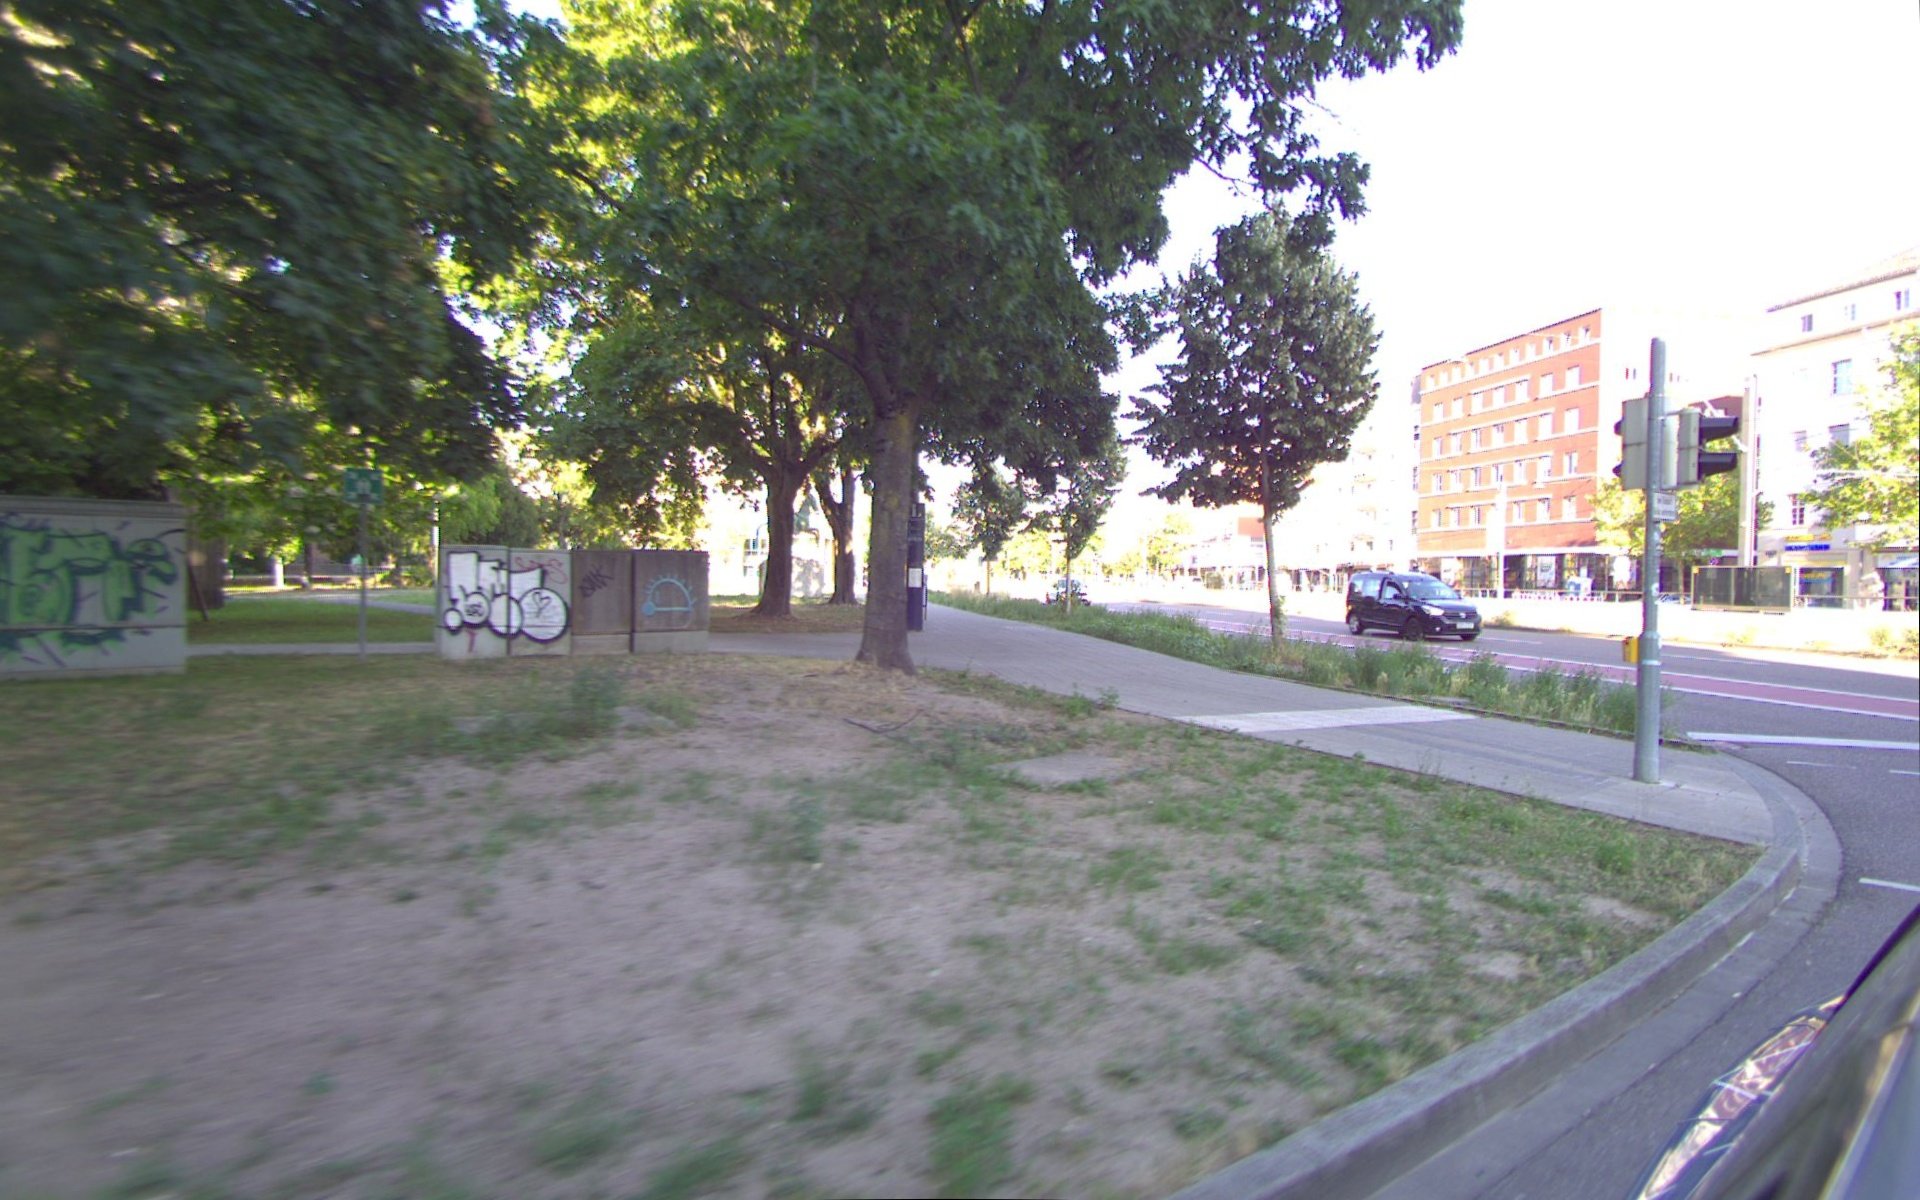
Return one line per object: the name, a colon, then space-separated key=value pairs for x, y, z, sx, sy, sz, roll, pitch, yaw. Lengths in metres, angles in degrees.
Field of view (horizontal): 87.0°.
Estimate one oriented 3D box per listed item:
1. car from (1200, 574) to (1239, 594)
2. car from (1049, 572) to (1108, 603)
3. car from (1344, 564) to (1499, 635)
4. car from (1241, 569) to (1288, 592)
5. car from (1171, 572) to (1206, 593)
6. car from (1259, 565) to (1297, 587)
car: x=24.928 y=-1.560 z=97.287 sx=1.959 sy=1.819 sz=4.902 roll=0 pitch=1 yaw=-7
car: x=6.366 y=-0.718 z=54.818 sx=1.797 sy=1.556 sz=4.288 roll=-1 pitch=2 yaw=-13
car: x=12.218 y=-0.058 z=27.103 sx=1.734 sy=1.754 sz=4.155 roll=0 pitch=1 yaw=-9
car: x=25.778 y=-1.673 z=85.794 sx=1.960 sy=1.841 sz=4.986 roll=1 pitch=1 yaw=-6
car: x=23.986 y=-1.856 z=106.347 sx=1.959 sy=2.038 sz=4.784 roll=0 pitch=2 yaw=-9
car: x=32.539 y=-2.440 z=103.659 sx=1.919 sy=2.160 sz=4.580 roll=1 pitch=1 yaw=-8
